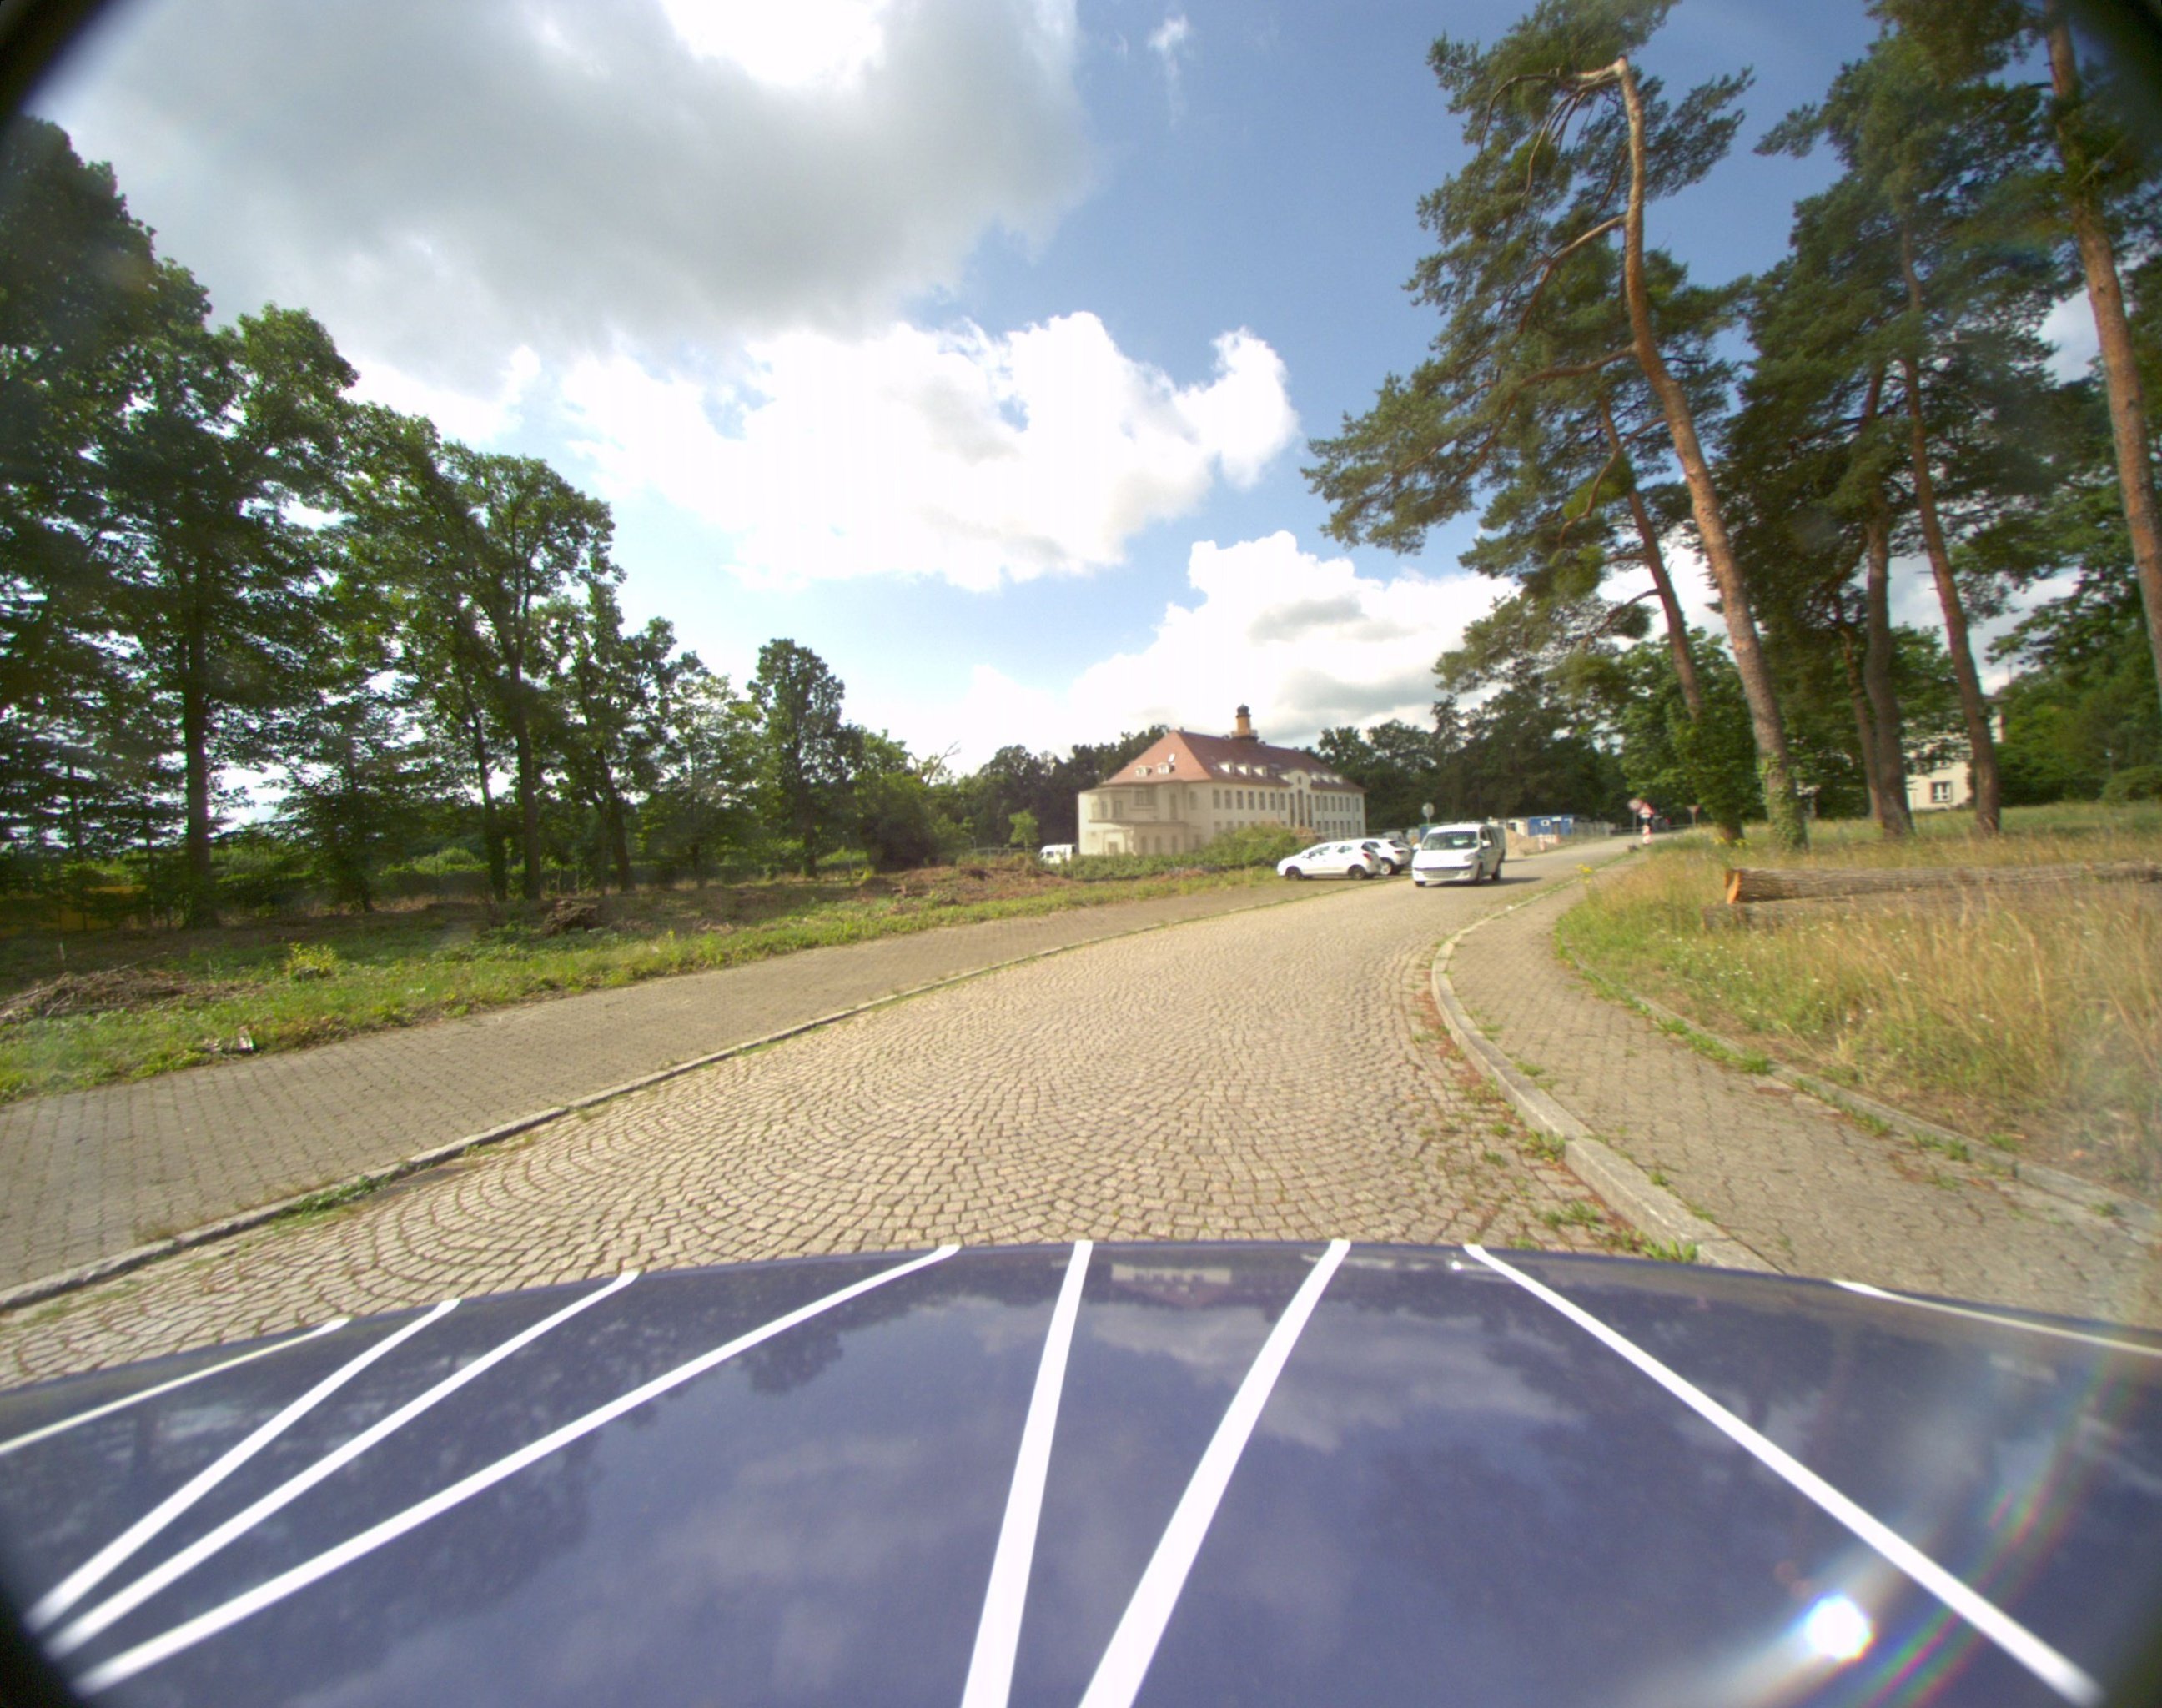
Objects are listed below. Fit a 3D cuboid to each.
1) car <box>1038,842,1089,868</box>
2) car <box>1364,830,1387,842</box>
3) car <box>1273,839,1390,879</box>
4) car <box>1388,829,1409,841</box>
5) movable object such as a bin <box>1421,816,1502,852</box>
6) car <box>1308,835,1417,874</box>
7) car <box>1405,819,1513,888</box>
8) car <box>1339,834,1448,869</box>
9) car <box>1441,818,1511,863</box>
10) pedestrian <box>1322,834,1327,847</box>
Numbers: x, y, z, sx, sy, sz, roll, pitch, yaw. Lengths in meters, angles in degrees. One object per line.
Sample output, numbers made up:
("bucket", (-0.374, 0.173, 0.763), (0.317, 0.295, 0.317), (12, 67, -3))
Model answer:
("car", (-1.866, 0.129, 80.587), (2.251, 2.576, 5.424), (-4, 1, -42))
("car", (47.266, -2.872, 121.796), (1.881, 1.718, 4.716), (-3, 1, 41))
("car", (9.906, 0.221, 30.206), (4.044, 1.456, 1.707), (-1, 2, 37))
("car", (49.941, -2.980, 119.543), (1.799, 1.674, 4.047), (-3, 1, 41))
("movable object such as a bin", (28.579, -1.506, 57.099), (5.661, 2.507, 2.146), (-2, 1, -22))
("car", (11.990, 0.043, 32.428), (3.988, 1.498, 1.750), (-1, 2, 37))
("car", (11.596, -0.070, 23.127), (1.835, 1.858, 4.839), (-3, 0, 39))
("car", (14.801, -0.109, 36.090), (4.456, 1.467, 1.749), (-1, 2, 36))
("car", (20.473, -0.740, 39.235), (1.915, 2.041, 5.689), (-3, 1, 41))
("pedestrian", (34.831, -1.953, 108.803), (0.490, 1.777, 0.508), (-3, 0, 37))
